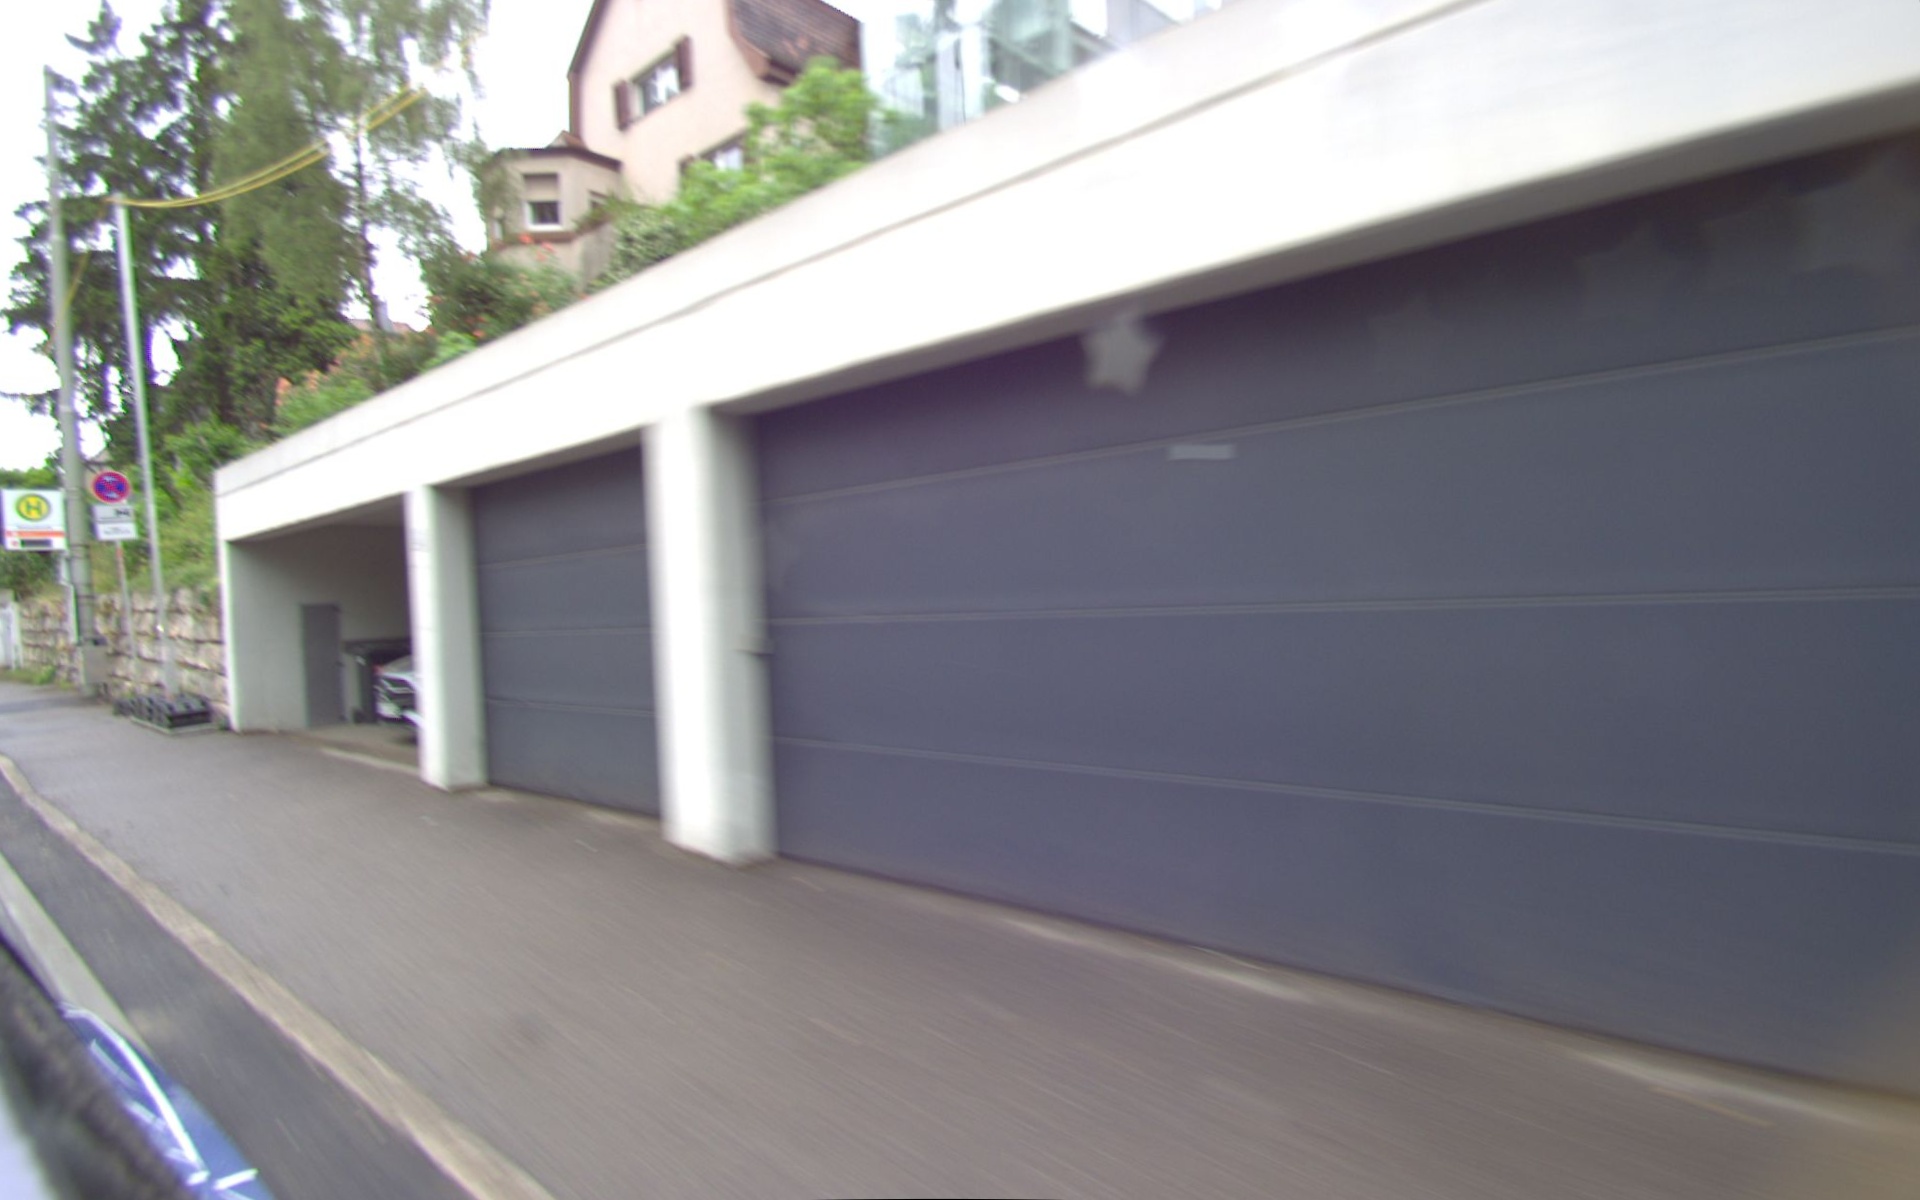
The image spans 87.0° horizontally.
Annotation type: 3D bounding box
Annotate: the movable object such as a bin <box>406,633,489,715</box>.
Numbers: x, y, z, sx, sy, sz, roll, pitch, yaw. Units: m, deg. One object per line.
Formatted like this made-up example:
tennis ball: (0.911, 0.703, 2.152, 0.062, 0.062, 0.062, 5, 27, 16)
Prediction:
movable object such as a bin: (-6.369, 0.898, 12.573, 0.656, 0.910, 0.676, 0, 4, 41)

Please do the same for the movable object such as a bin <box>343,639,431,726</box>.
movable object such as a bin: (-6.788, 0.956, 11.990, 0.656, 0.910, 0.676, 0, 4, 41)

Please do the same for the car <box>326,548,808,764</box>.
car: (-4.044, 0.405, 11.035, 2.109, 1.718, 4.357, -1, 4, 41)

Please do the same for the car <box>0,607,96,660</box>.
car: (-31.786, 1.174, 33.958, 3.943, 1.536, 1.788, -3, 3, -1)
